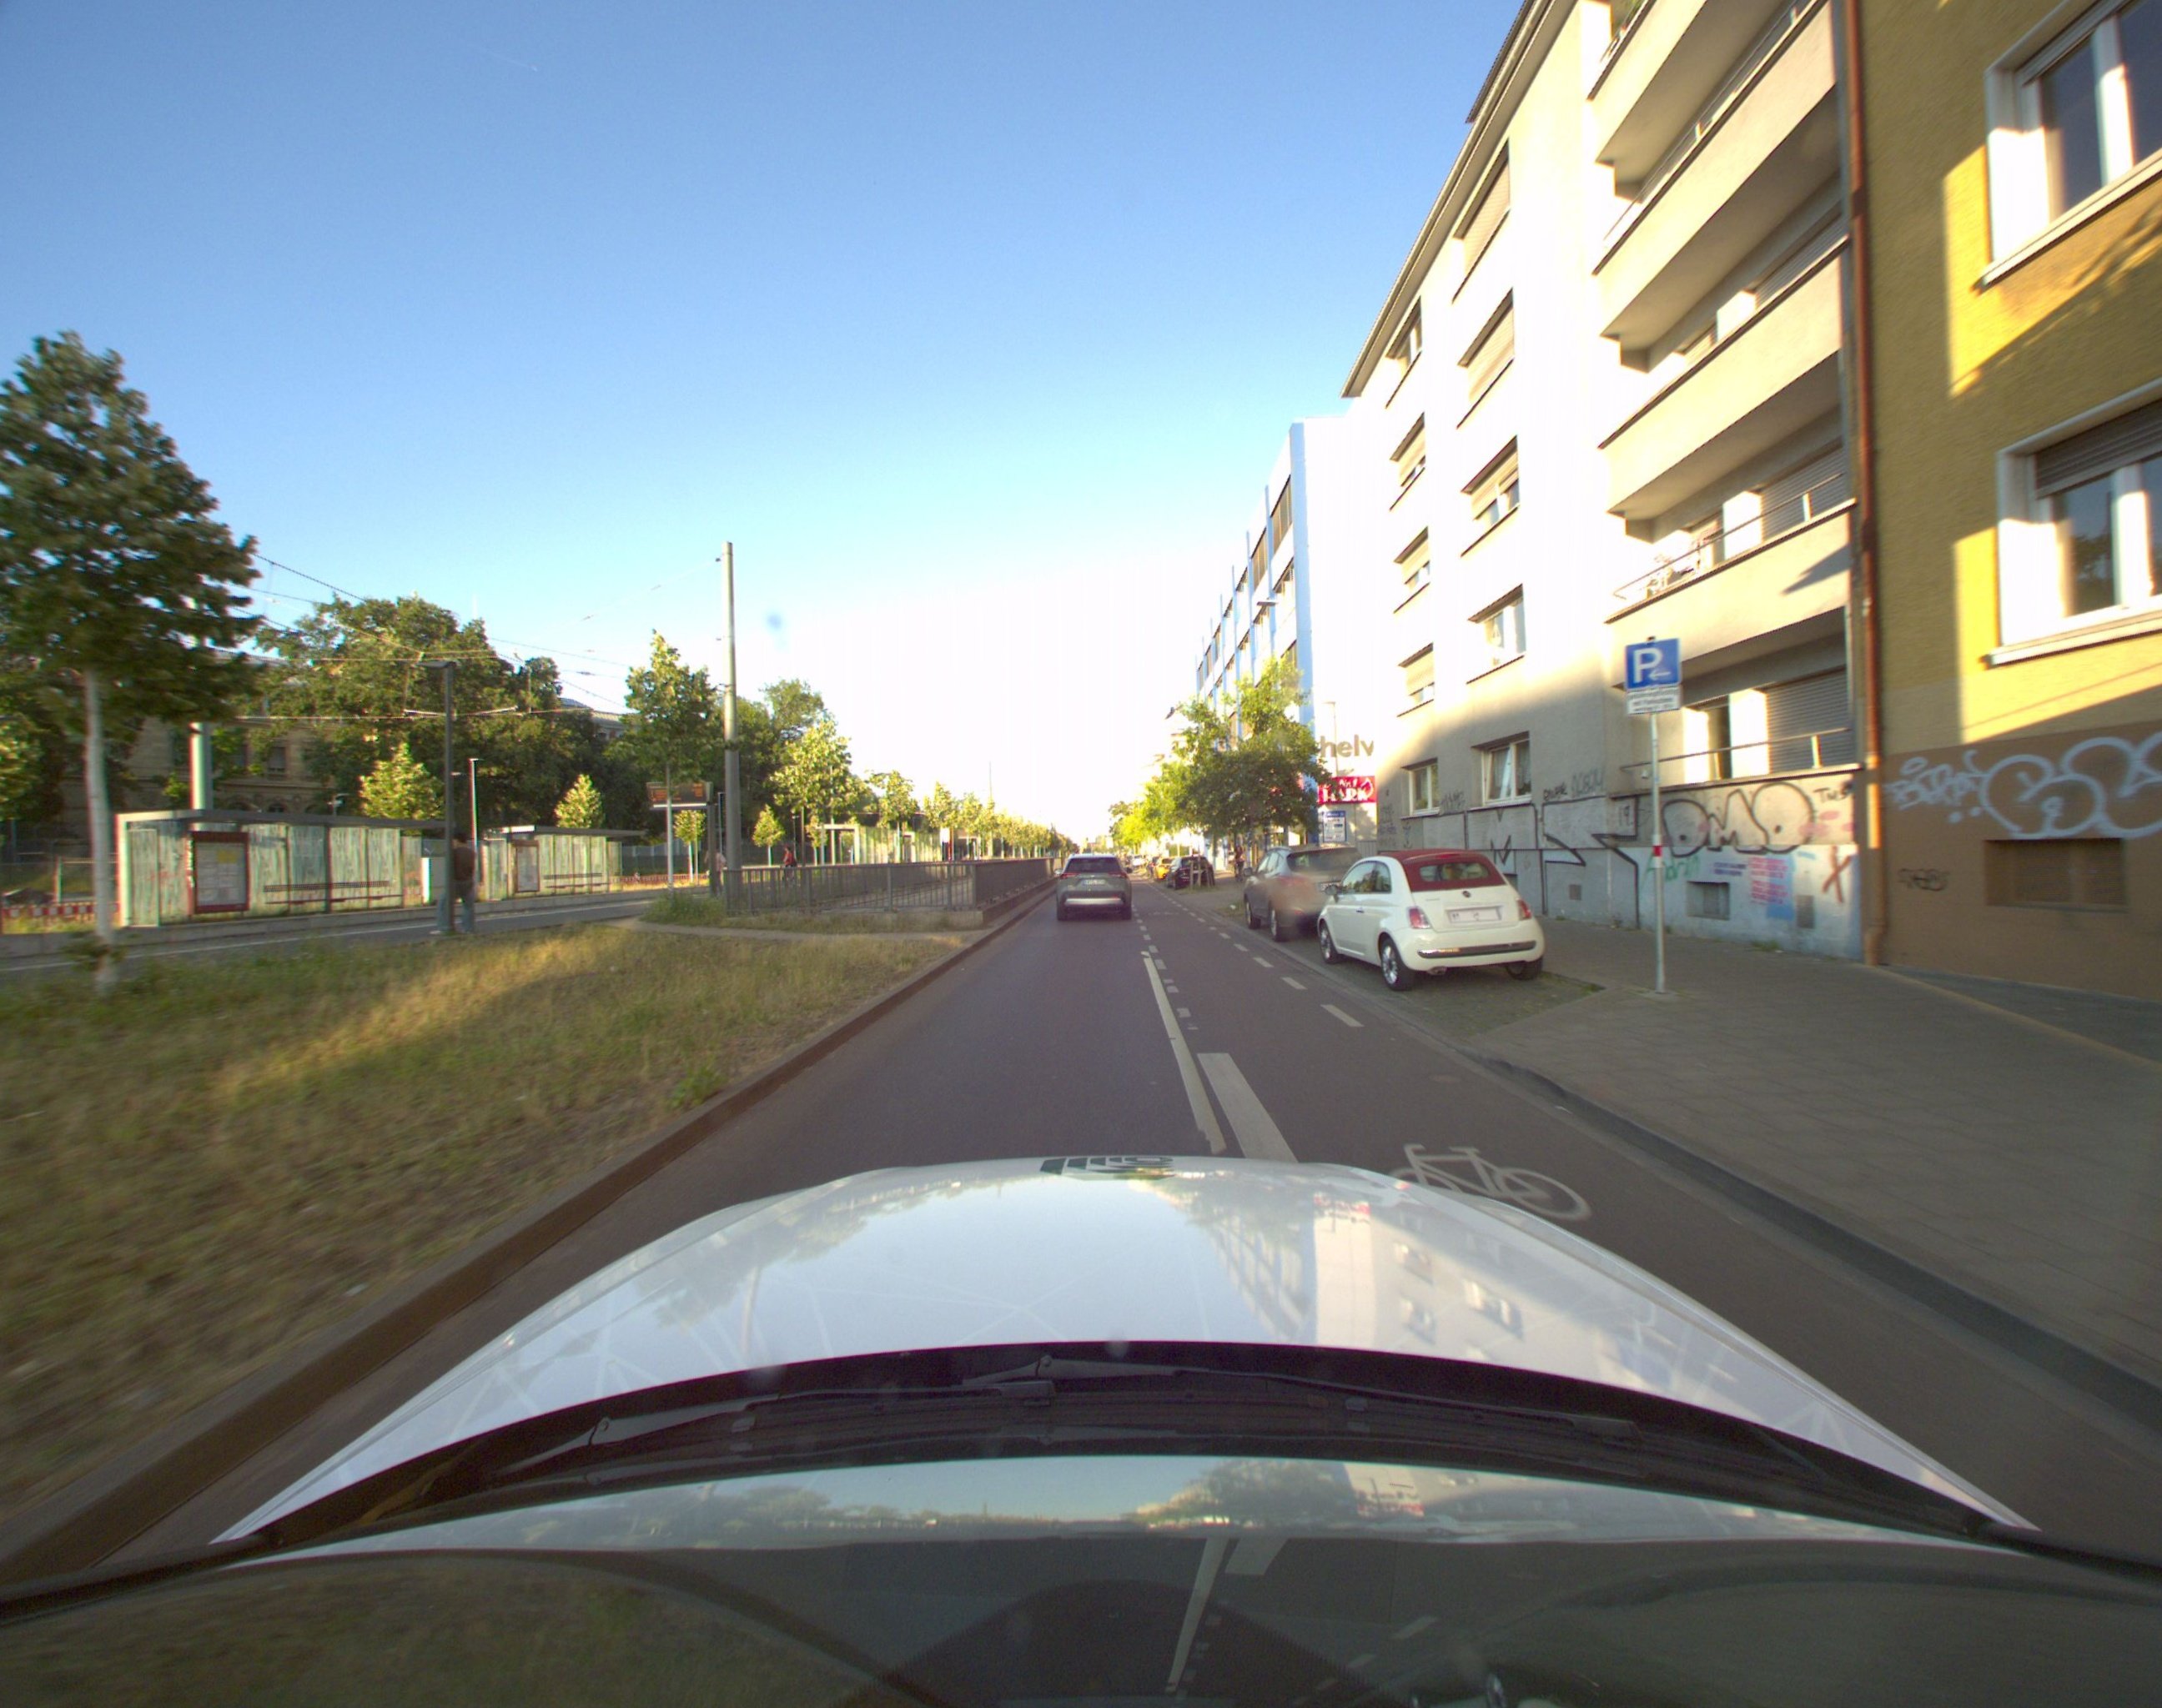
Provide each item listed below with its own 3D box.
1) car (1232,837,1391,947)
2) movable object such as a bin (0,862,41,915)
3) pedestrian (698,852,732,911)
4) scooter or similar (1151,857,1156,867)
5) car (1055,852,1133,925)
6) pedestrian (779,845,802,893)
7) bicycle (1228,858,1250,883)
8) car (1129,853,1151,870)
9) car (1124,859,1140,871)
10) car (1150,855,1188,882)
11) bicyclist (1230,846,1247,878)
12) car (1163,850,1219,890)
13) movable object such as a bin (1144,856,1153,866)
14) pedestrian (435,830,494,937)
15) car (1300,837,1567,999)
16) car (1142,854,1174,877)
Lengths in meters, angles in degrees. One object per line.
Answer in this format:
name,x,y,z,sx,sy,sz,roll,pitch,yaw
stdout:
car,4.164,0.621,15.482,1.750,1.654,4.530,-4,0,2
movable object such as a bin,-47.355,1.503,33.737,1.985,2.246,4.944,-2,0,4
pedestrian,-11.293,0.834,25.127,0.724,1.744,0.635,-2,0,-6
scooter or similar,9.679,1.085,108.609,0.489,1.258,1.207,-1,-1,-2
car,0.293,0.832,21.368,1.852,1.714,4.191,0,-1,0
pedestrian,-10.528,0.537,29.538,0.634,1.729,0.633,-2,0,-11
bicycle,7.411,0.763,38.217,0.552,1.129,1.973,-5,-1,0
car,6.309,0.809,87.486,1.848,1.706,4.253,-4,0,0
car,7.307,1.548,116.864,1.788,1.471,4.442,-5,0,-1
car,5.116,0.832,47.891,1.678,1.454,4.128,-3,-1,0
bicyclist,7.373,0.380,38.250,0.556,1.475,0.622,-5,-1,-1
car,4.983,0.709,37.553,1.814,1.566,4.809,-5,0,0
movable object such as a bin,11.034,1.124,132.643,1.256,1.462,1.123,-1,-1,-2
pedestrian,-10.576,0.494,13.987,0.468,1.787,0.627,-2,-1,9
car,4.136,0.674,10.238,1.664,1.518,3.600,-5,0,0
car,5.436,0.802,58.049,1.813,1.454,4.127,-3,-1,0
